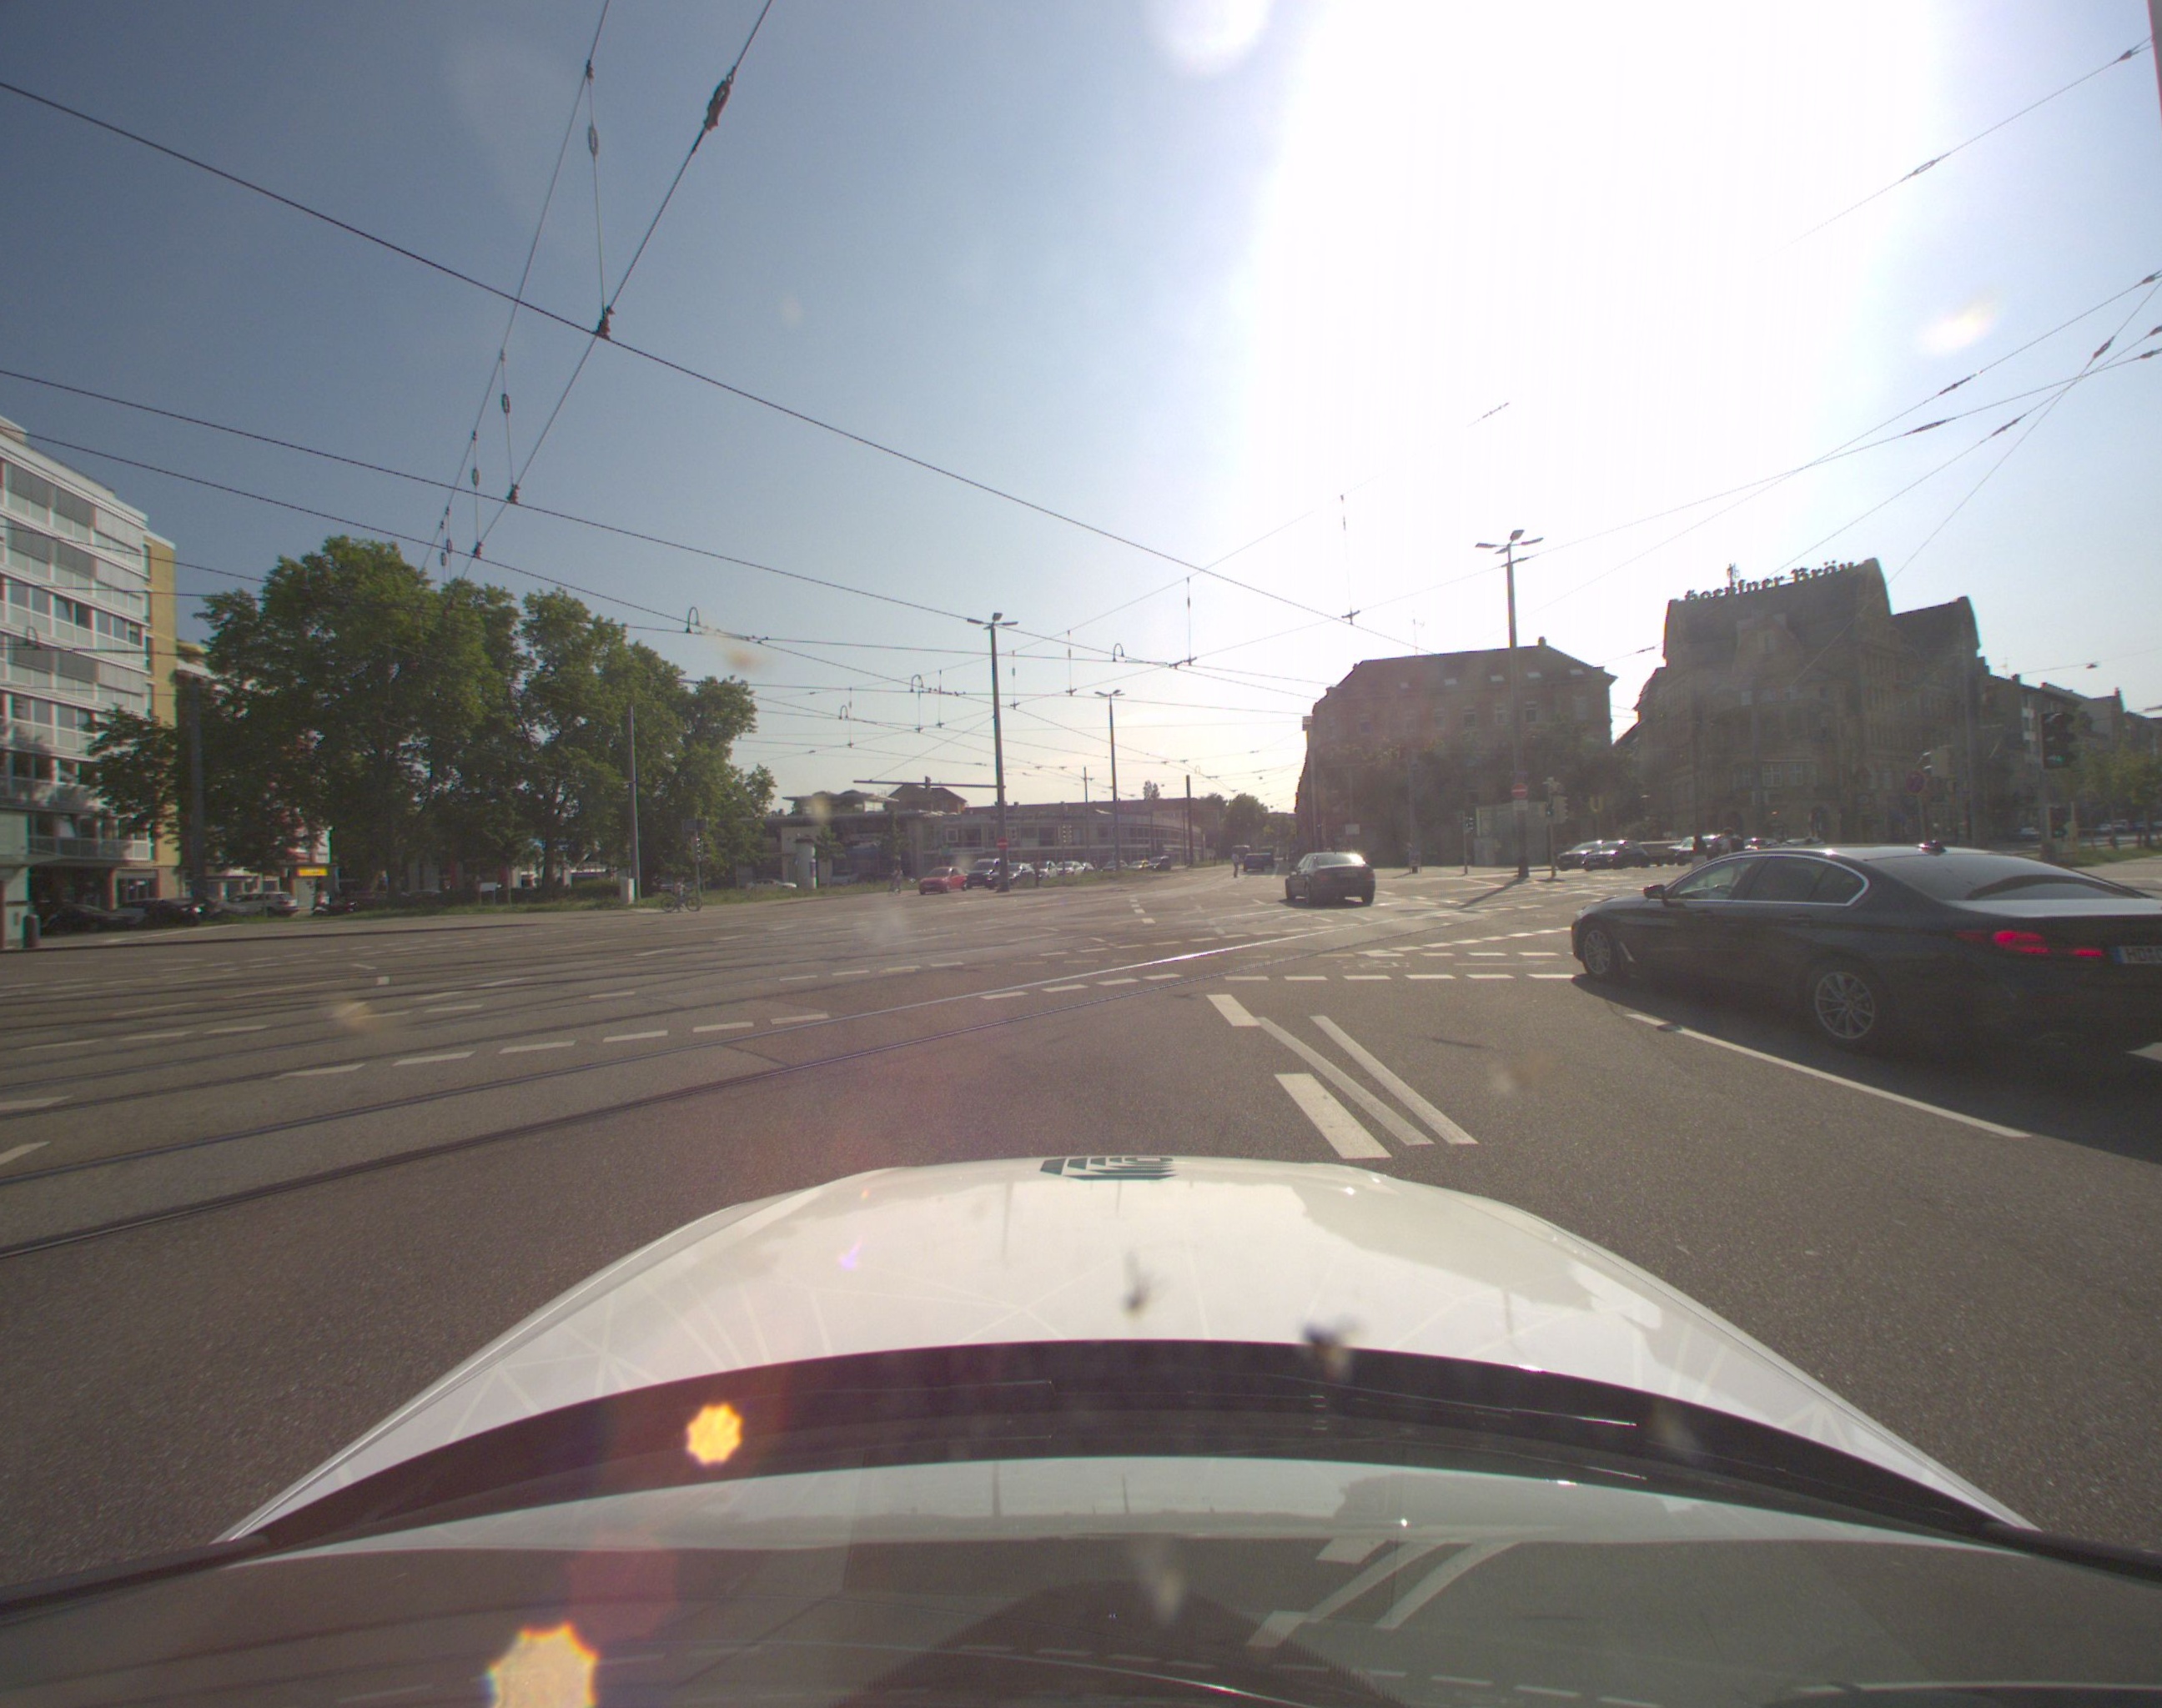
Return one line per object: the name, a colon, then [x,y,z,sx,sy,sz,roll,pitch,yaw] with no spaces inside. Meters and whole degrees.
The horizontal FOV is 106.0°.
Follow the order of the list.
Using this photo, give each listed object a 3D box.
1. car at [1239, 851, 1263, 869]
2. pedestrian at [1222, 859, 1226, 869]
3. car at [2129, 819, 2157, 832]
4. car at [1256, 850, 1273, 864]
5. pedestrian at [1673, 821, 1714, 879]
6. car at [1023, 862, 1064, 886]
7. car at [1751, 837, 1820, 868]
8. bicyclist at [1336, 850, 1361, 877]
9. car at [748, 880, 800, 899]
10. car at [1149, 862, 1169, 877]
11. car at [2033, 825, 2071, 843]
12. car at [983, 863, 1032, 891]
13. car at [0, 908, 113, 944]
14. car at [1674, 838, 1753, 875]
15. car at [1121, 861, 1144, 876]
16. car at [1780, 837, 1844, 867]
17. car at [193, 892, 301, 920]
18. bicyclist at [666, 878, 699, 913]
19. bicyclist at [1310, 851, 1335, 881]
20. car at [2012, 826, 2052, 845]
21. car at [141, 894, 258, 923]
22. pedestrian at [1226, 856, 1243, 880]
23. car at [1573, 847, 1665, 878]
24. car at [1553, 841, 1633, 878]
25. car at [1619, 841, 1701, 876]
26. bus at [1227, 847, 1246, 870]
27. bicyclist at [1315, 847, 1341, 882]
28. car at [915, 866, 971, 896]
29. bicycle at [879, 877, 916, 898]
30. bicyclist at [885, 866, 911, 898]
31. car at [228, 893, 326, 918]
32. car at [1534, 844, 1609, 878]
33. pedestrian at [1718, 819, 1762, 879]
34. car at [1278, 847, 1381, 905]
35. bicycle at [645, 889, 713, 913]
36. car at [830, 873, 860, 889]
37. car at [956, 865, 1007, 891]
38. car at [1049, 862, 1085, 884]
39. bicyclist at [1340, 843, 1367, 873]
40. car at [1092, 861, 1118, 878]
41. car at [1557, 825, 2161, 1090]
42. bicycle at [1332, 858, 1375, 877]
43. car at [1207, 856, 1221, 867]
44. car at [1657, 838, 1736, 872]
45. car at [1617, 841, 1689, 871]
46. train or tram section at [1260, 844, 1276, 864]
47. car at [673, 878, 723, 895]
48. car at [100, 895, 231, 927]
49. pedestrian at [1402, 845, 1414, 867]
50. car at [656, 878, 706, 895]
car: [15.141,0.520,72.406,1.812,1.428,4.429,-3,0,14]
pedestrian: [23.009,1.563,131.028,0.591,1.630,0.640,-2,-1,15]
car: [155.679,-4.165,119.340,4.126,1.859,1.914,-1,-1,-30]
car: [20.539,0.316,91.106,1.813,1.428,4.428,-3,0,13]
pedestrian: [18.515,-0.119,24.641,0.910,1.690,0.843,-2,-1,35]
car: [-2.489,1.317,55.191,1.603,1.475,4.015,-4,-1,13]
car: [44.513,-0.101,51.432,4.149,1.859,1.959,-1,-1,-30]
bicyclist: [17.090,0.591,52.072,0.939,1.680,1.084,-2,-1,-25]
car: [-28.132,3.249,74.696,4.069,1.522,1.706,-2,-1,3]
car: [8.906,1.761,92.584,1.602,1.475,4.016,-4,-1,14]
car: [106.875,-2.238,89.638,4.126,1.859,1.914,-1,-1,-30]
car: [-4.336,1.336,48.664,1.603,1.475,4.015,-4,-1,13]
car: [-45.679,3.148,35.541,4.171,1.354,1.471,-2,-1,-21]
car: [33.978,0.126,43.743,4.080,1.859,1.892,-1,-1,-30]
car: [5.543,1.506,86.517,1.602,1.475,4.016,-4,-1,14]
car: [48.608,-0.120,54.126,4.126,1.859,1.914,-1,-1,-30]
car: [-49.491,3.066,48.443,4.171,1.354,1.567,-2,-1,-21]
bicyclist: [-18.121,1.865,37.027,1.165,1.527,0.956,0,-1,-16]
bicyclist: [14.986,0.749,50.499,0.939,1.800,1.084,-2,-1,-25]
car: [99.868,-1.970,85.503,4.126,1.859,1.914,-1,-1,-30]
car: [-49.480,3.037,45.790,4.171,1.354,1.567,-2,-1,-21]
pedestrian: [10.030,0.927,53.335,0.781,1.503,0.705,-2,-1,-22]
car: [26.582,0.409,40.209,4.400,1.397,2.004,-1,-1,-30]
car: [28.016,0.284,44.526,4.263,1.859,1.892,-1,-1,-30]
car: [33.518,0.261,47.090,4.721,1.859,1.893,-1,-1,-28]
bus: [26.943,0.770,140.959,2.901,3.619,16.799,-2,-1,12]
bicyclist: [14.623,0.615,48.198,0.942,2.024,1.080,-2,-1,-39]
car: [-7.799,1.490,46.331,1.603,1.475,4.015,-4,-1,13]
bicycle: [-10.477,1.909,46.641,0.951,1.057,2.618,-2,-1,14]
bicyclist: [-10.489,1.595,46.630,0.951,1.749,1.171,-2,-1,14]
car: [-51.544,3.297,52.284,4.171,1.354,1.567,-2,-1,-21]
car: [29.485,0.417,48.934,4.286,1.859,1.937,-1,-1,-30]
pedestrian: [19.129,-0.140,23.660,0.910,1.690,0.931,-3,-1,38]
car: [6.968,0.585,23.295,1.676,1.442,4.374,-2,-1,2]
bicycle: [-18.205,2.134,36.992,2.605,1.057,0.955,1,-2,-16]
car: [-24.556,2.754,84.840,1.692,1.522,4.102,-2,-1,3]
car: [-6.478,1.537,53.500,1.947,1.475,4.015,-4,-1,13]
car: [-0.994,1.363,60.421,1.602,1.475,4.016,-4,-1,14]
bicyclist: [15.584,0.225,46.553,0.942,1.708,1.080,-2,-1,-39]
car: [2.365,1.448,79.200,1.602,1.475,4.016,-4,-1,14]
car: [6.230,0.592,6.977,1.676,1.492,4.675,-1,0,2]
bicycle: [15.572,0.765,46.525,2.640,0.964,1.080,-2,-1,-39]
car: [19.835,1.143,121.168,1.602,1.475,4.016,-4,-1,14]
car: [36.916,0.066,48.821,4.678,1.859,2.026,-1,-1,-30]
car: [38.867,0.152,55.324,4.276,1.859,1.917,-2,-1,-22]
train or tram section: [36.955,0.048,161.028,2.638,3.699,10.621,-3,0,11]
car: [-39.845,3.348,84.869,1.683,1.522,4.543,-2,-1,30]
car: [-46.584,2.883,41.545,4.171,1.354,1.567,-2,-1,-21]
pedestrian: [22.759,0.145,56.714,0.540,1.471,0.672,-3,-1,44]
car: [-41.912,3.390,85.473,1.683,1.522,4.543,-2,-1,30]
